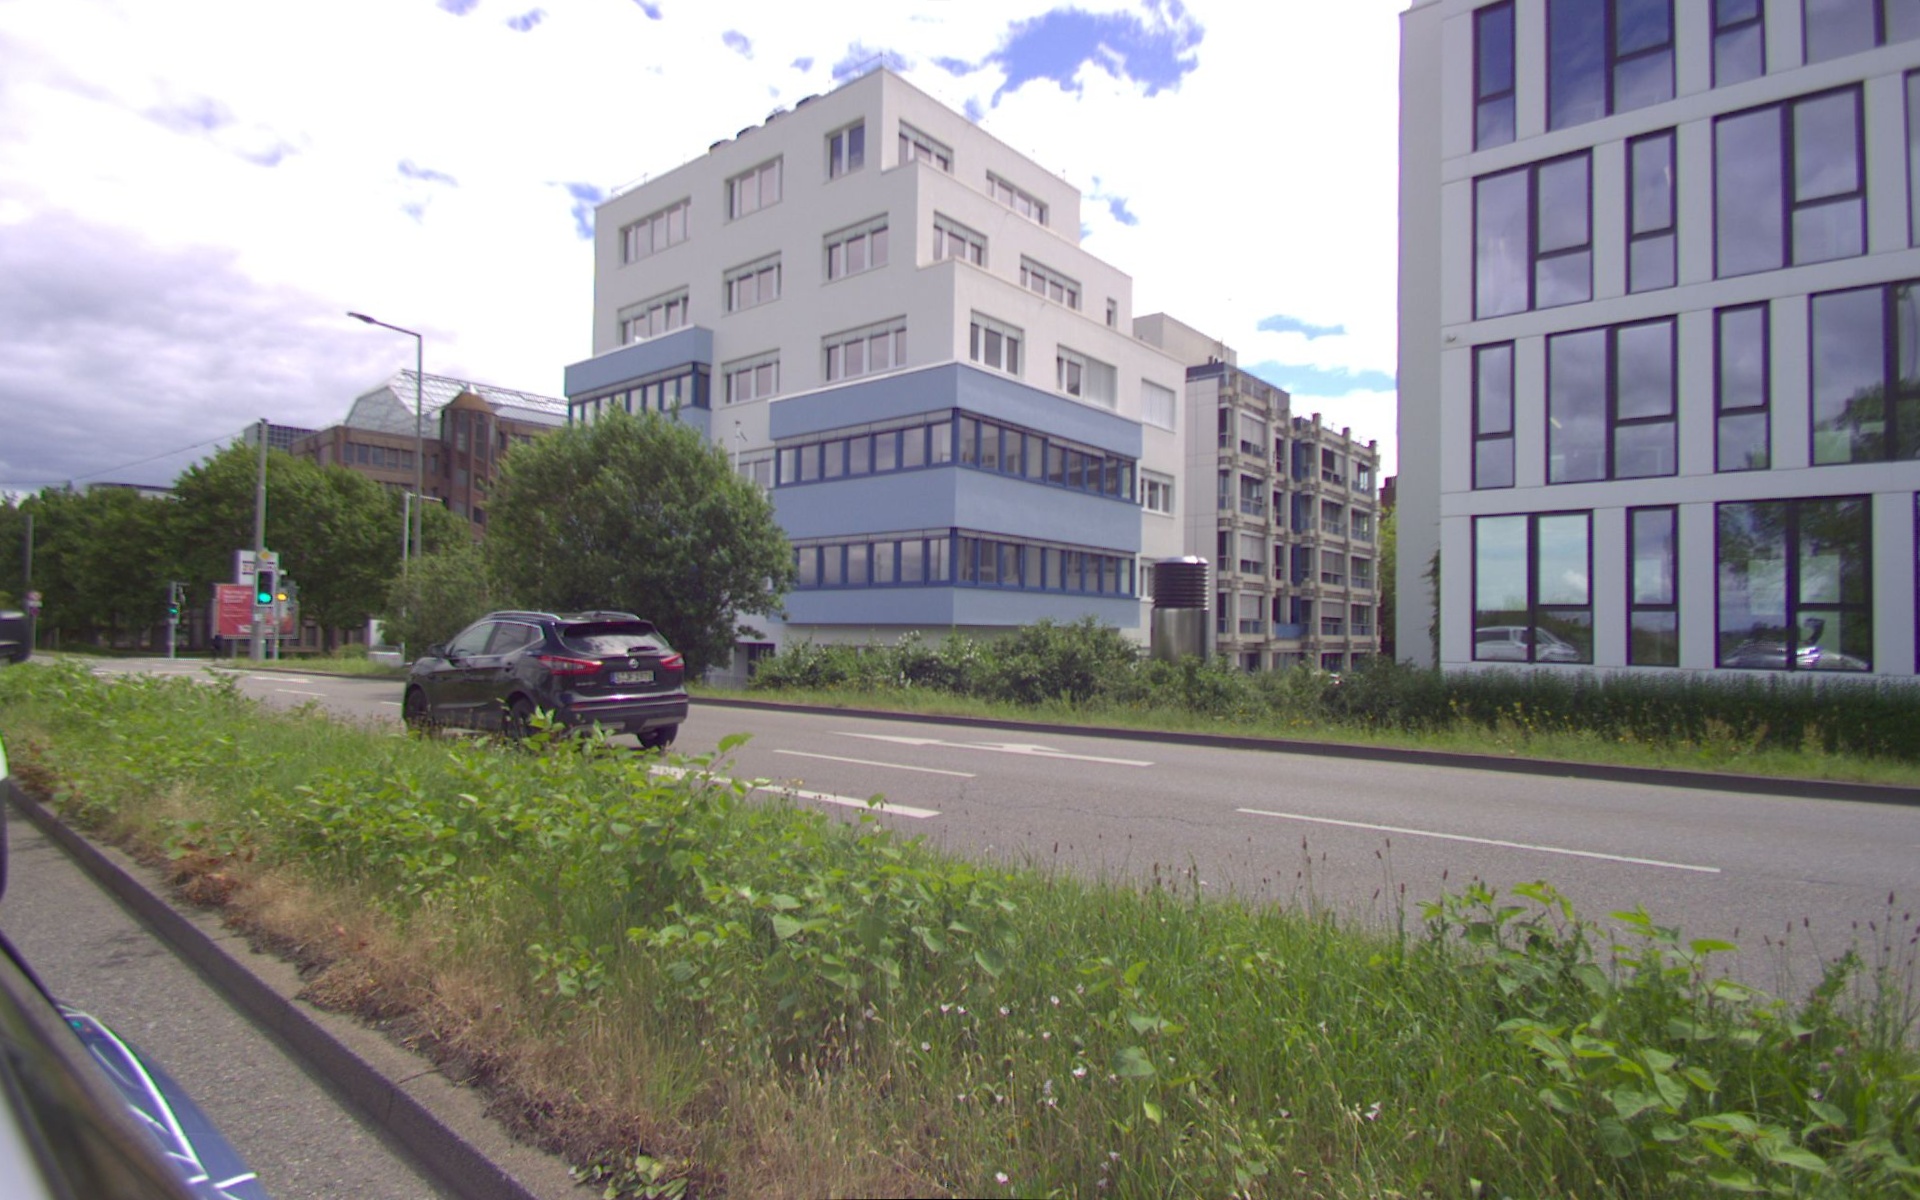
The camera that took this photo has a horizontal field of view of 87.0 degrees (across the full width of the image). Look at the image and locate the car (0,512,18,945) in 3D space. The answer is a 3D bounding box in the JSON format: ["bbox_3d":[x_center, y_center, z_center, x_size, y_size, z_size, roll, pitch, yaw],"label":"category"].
[{"bbox_3d":[-6.858,0.628,5.579,5.052,1.965,1.942,-2,-1,41],"label":"car"}]
